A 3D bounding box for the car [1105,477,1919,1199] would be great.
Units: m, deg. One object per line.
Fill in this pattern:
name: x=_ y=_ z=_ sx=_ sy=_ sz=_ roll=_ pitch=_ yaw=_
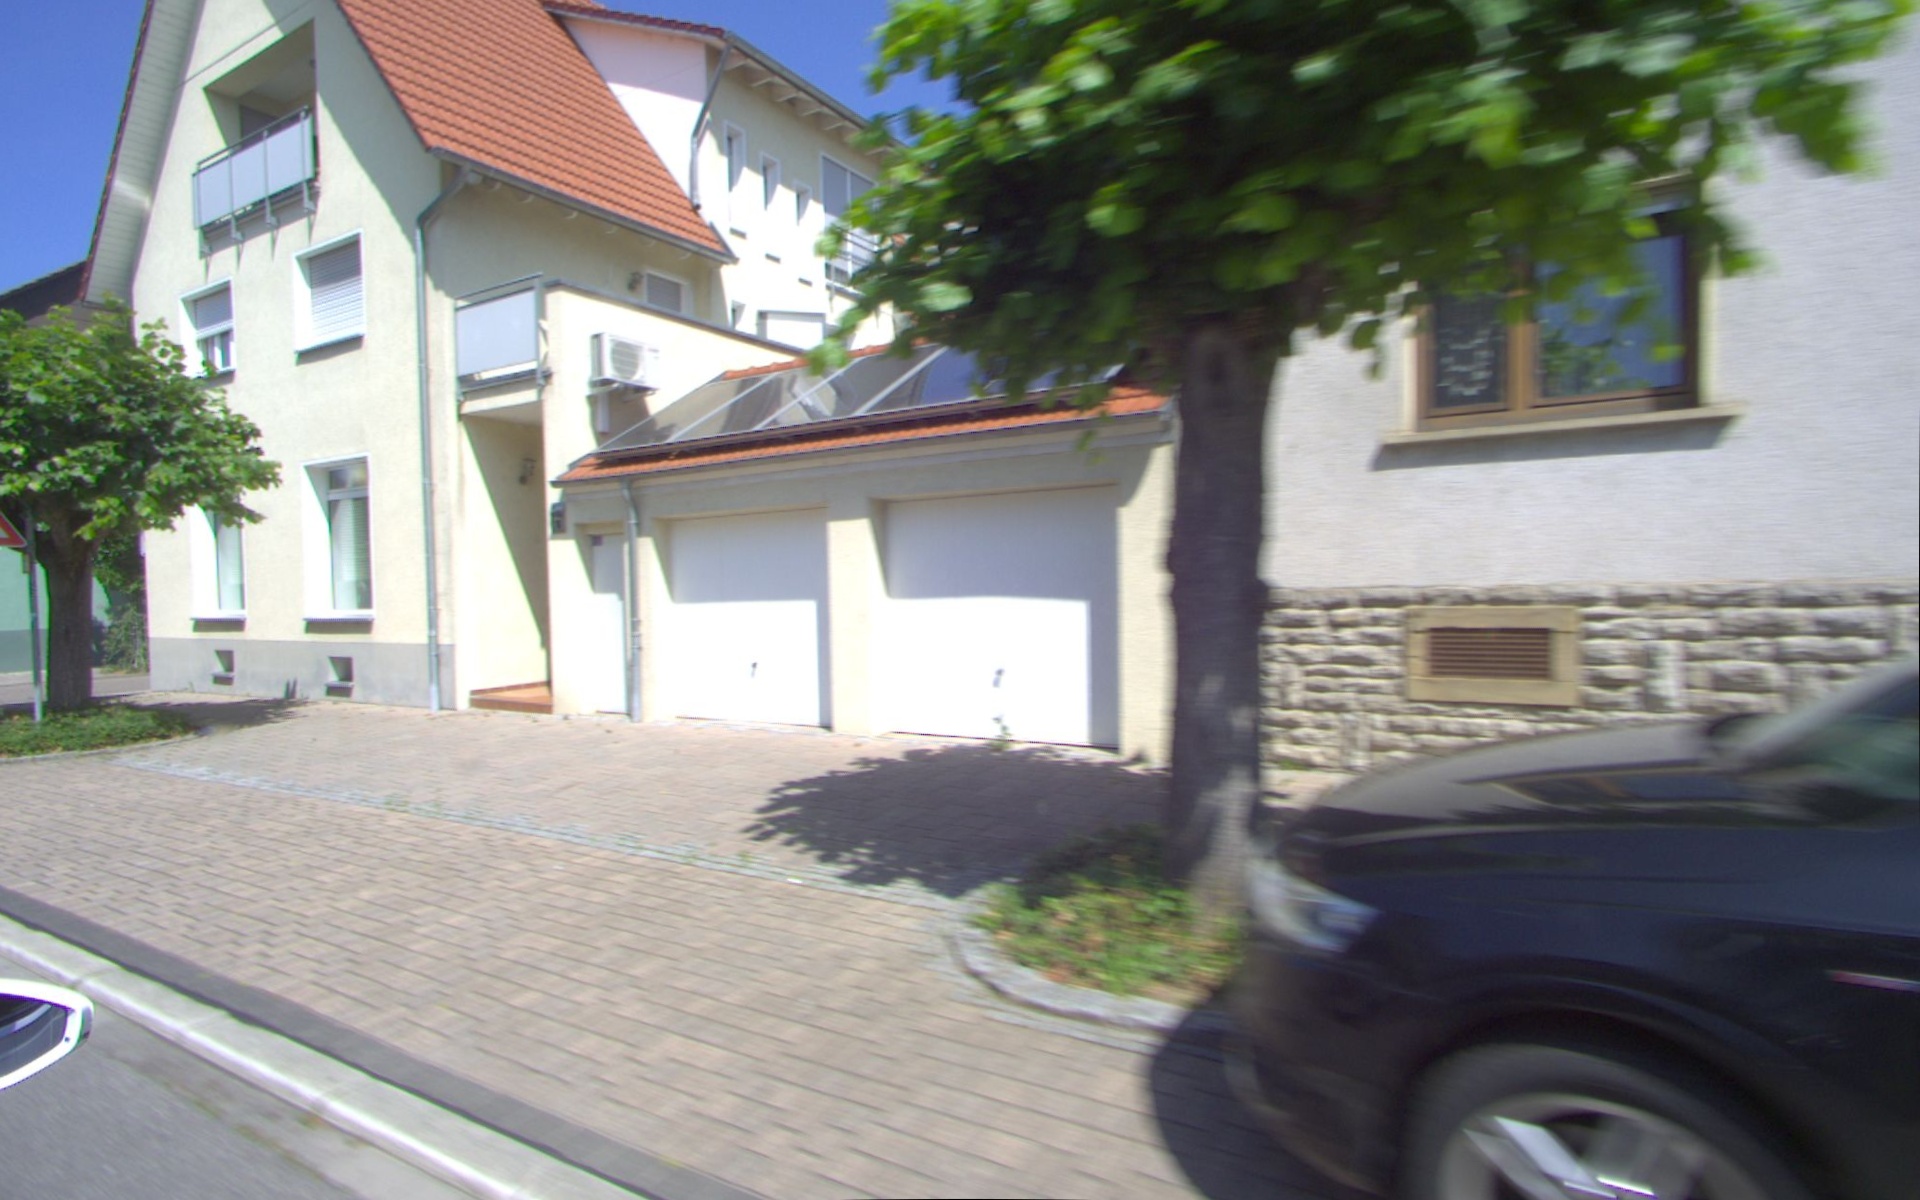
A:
car: x=2.474 y=0.588 z=1.772 sx=4.003 sy=1.608 sz=1.817 roll=0 pitch=2 yaw=36
